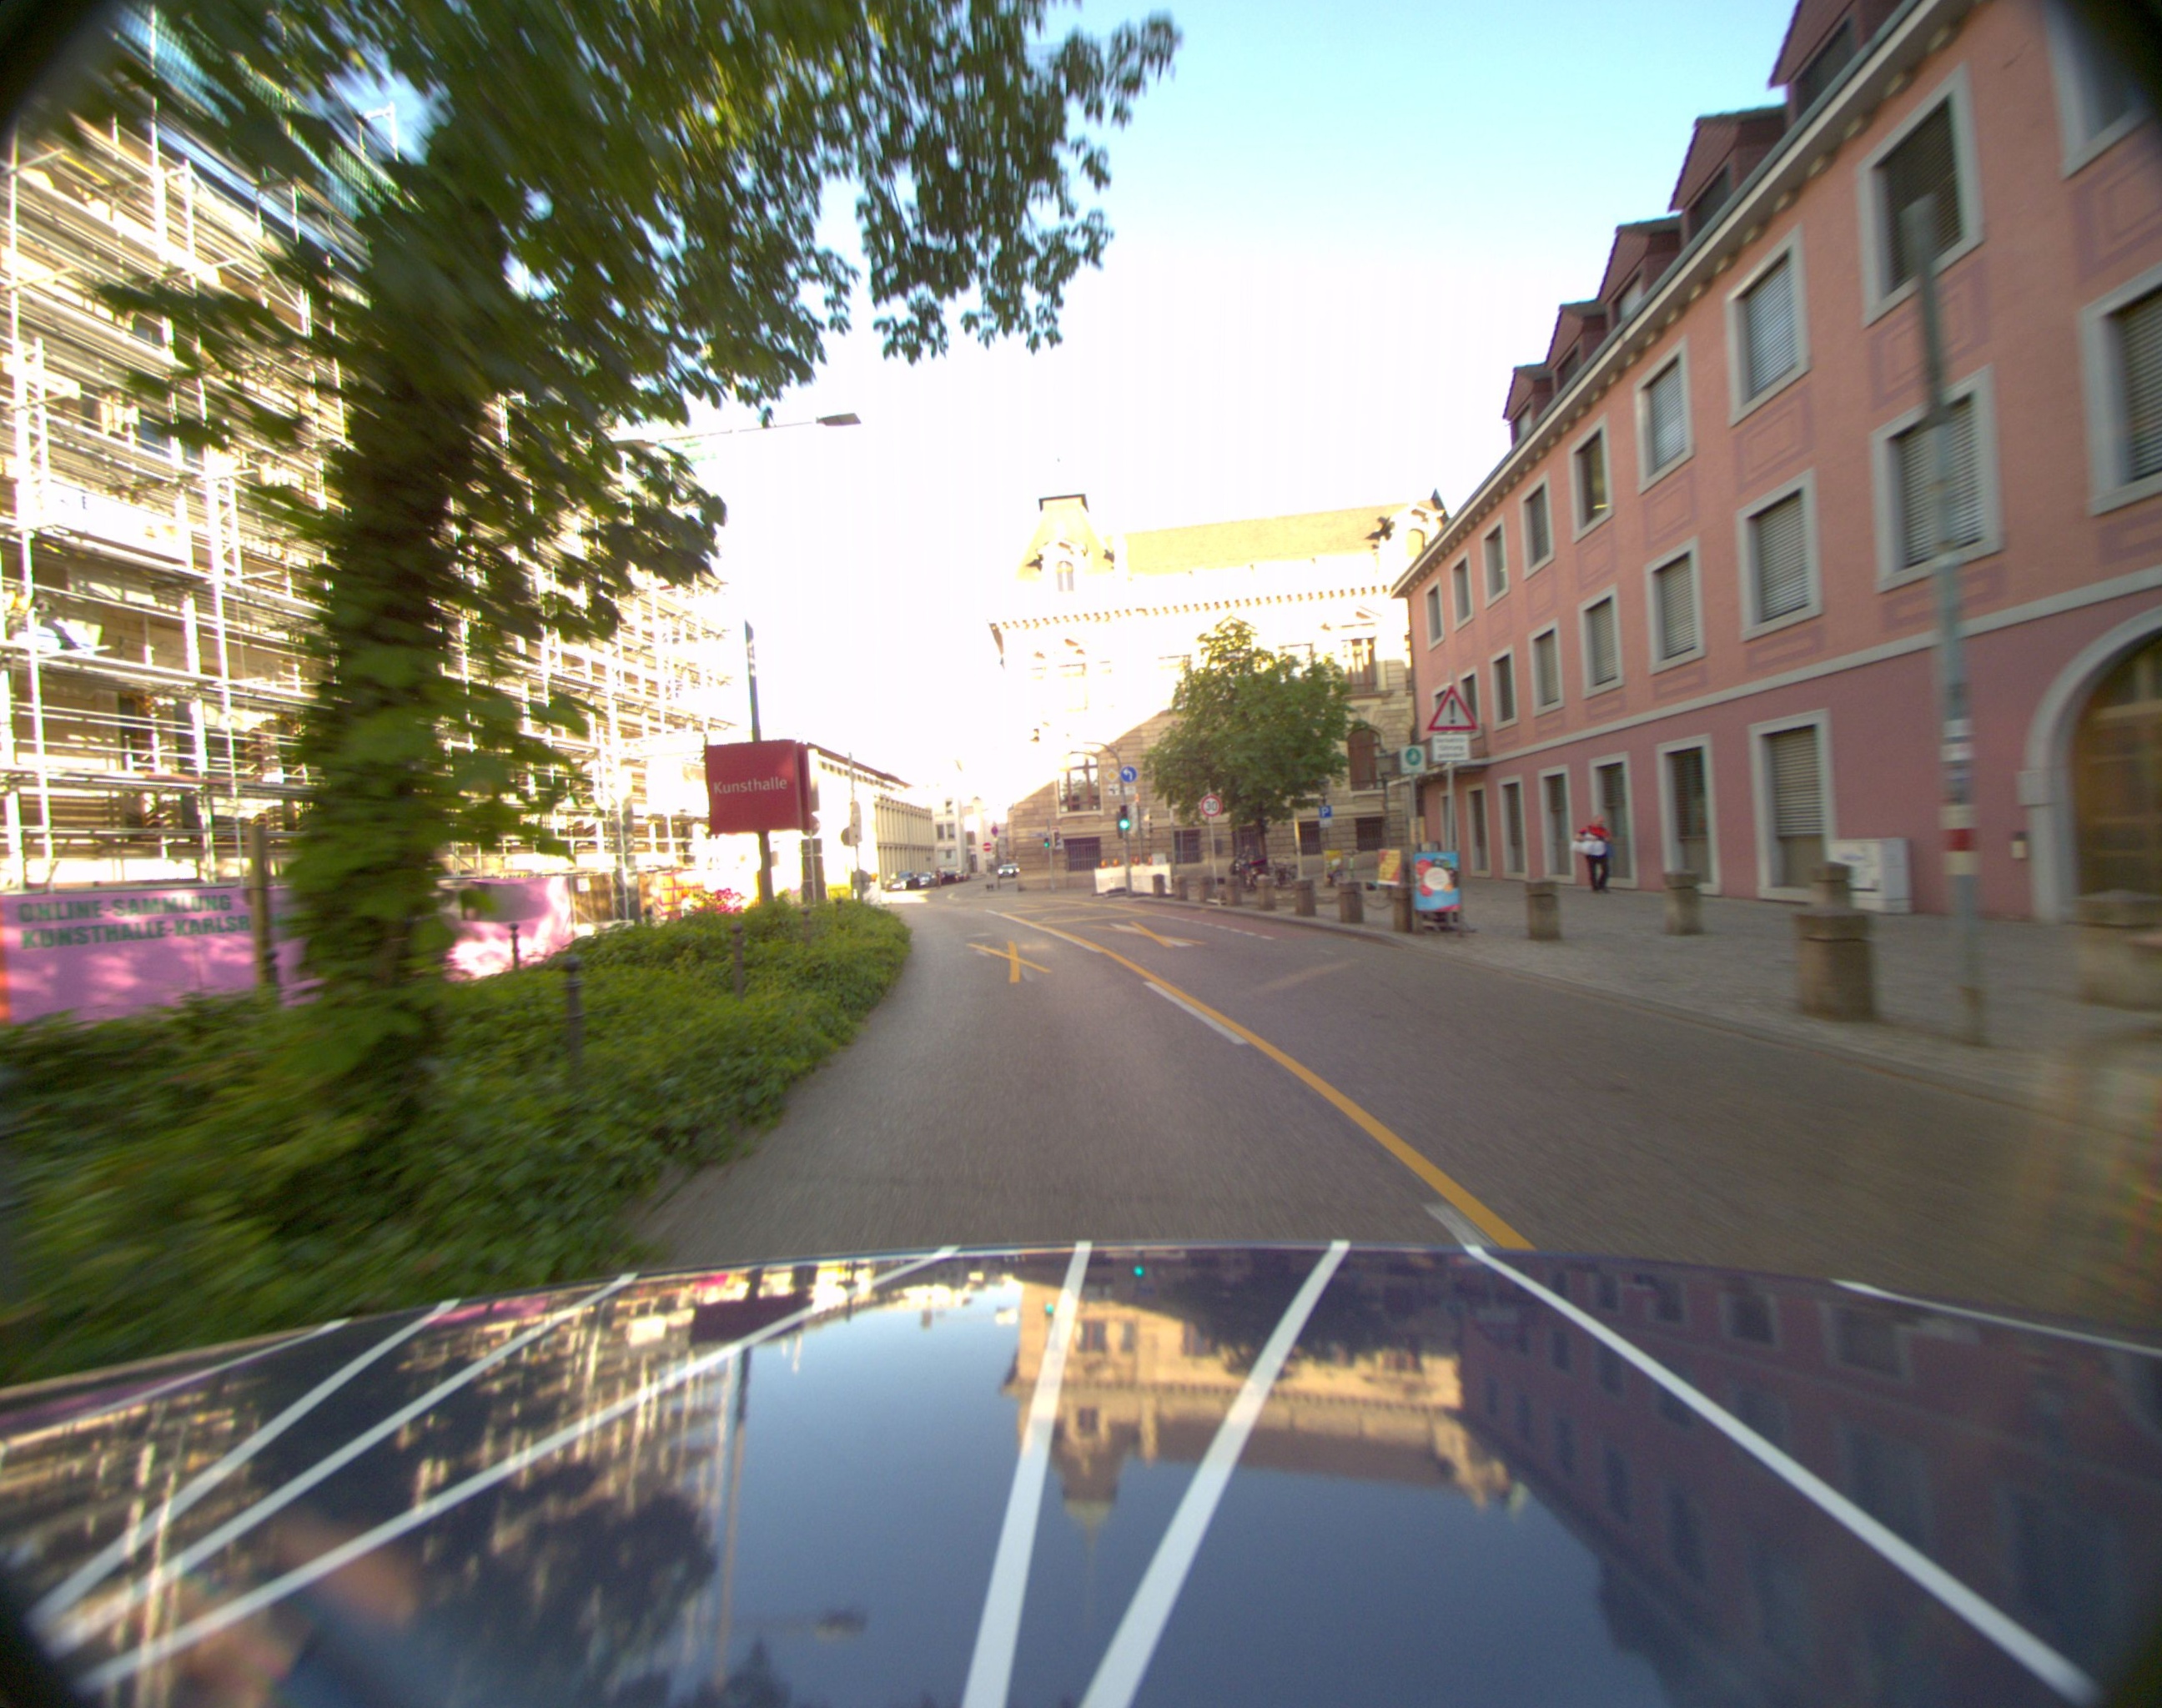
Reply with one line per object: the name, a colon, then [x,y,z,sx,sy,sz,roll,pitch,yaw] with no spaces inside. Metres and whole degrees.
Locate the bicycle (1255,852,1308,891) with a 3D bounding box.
bicycle: [6.798,0.578,25.737,2.009,1.199,0.682,-2,1,-40]

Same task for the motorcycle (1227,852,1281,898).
motorcycle: [5.383,0.638,23.810,0.814,1.309,2.336,-3,0,-7]

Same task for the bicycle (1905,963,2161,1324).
bicycle: [3.970,1.022,2.251,0.773,1.056,2.078,-4,0,1]

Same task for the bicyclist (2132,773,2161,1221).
bicyclist: [3.938,0.492,2.143,0.746,1.574,0.795,-5,0,1]

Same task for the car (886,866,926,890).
car: [-14.017,1.913,61.023,1.898,1.614,4.621,-5,0,1]

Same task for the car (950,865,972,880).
car: [-13.470,2.029,85.396,1.698,1.483,4.254,-5,0,-1]

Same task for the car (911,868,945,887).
car: [-13.704,2.087,68.288,1.700,1.336,4.599,-5,0,4]

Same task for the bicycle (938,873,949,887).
bicycle: [-10.885,2.060,60.091,0.535,1.060,1.425,-5,0,-1]

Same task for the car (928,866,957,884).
car: [-13.452,2.034,73.999,1.701,1.462,4.791,-5,0,1]

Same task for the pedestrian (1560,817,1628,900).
pedestrian: [11.050,0.087,16.409,0.793,1.679,0.869,-5,1,6]

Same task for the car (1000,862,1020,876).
car: [-8.558,1.773,91.793,1.854,1.483,4.254,-5,0,-1]

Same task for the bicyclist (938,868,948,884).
bicyclist: [-10.909,1.734,60.080,0.538,1.281,0.551,-5,0,-2]
